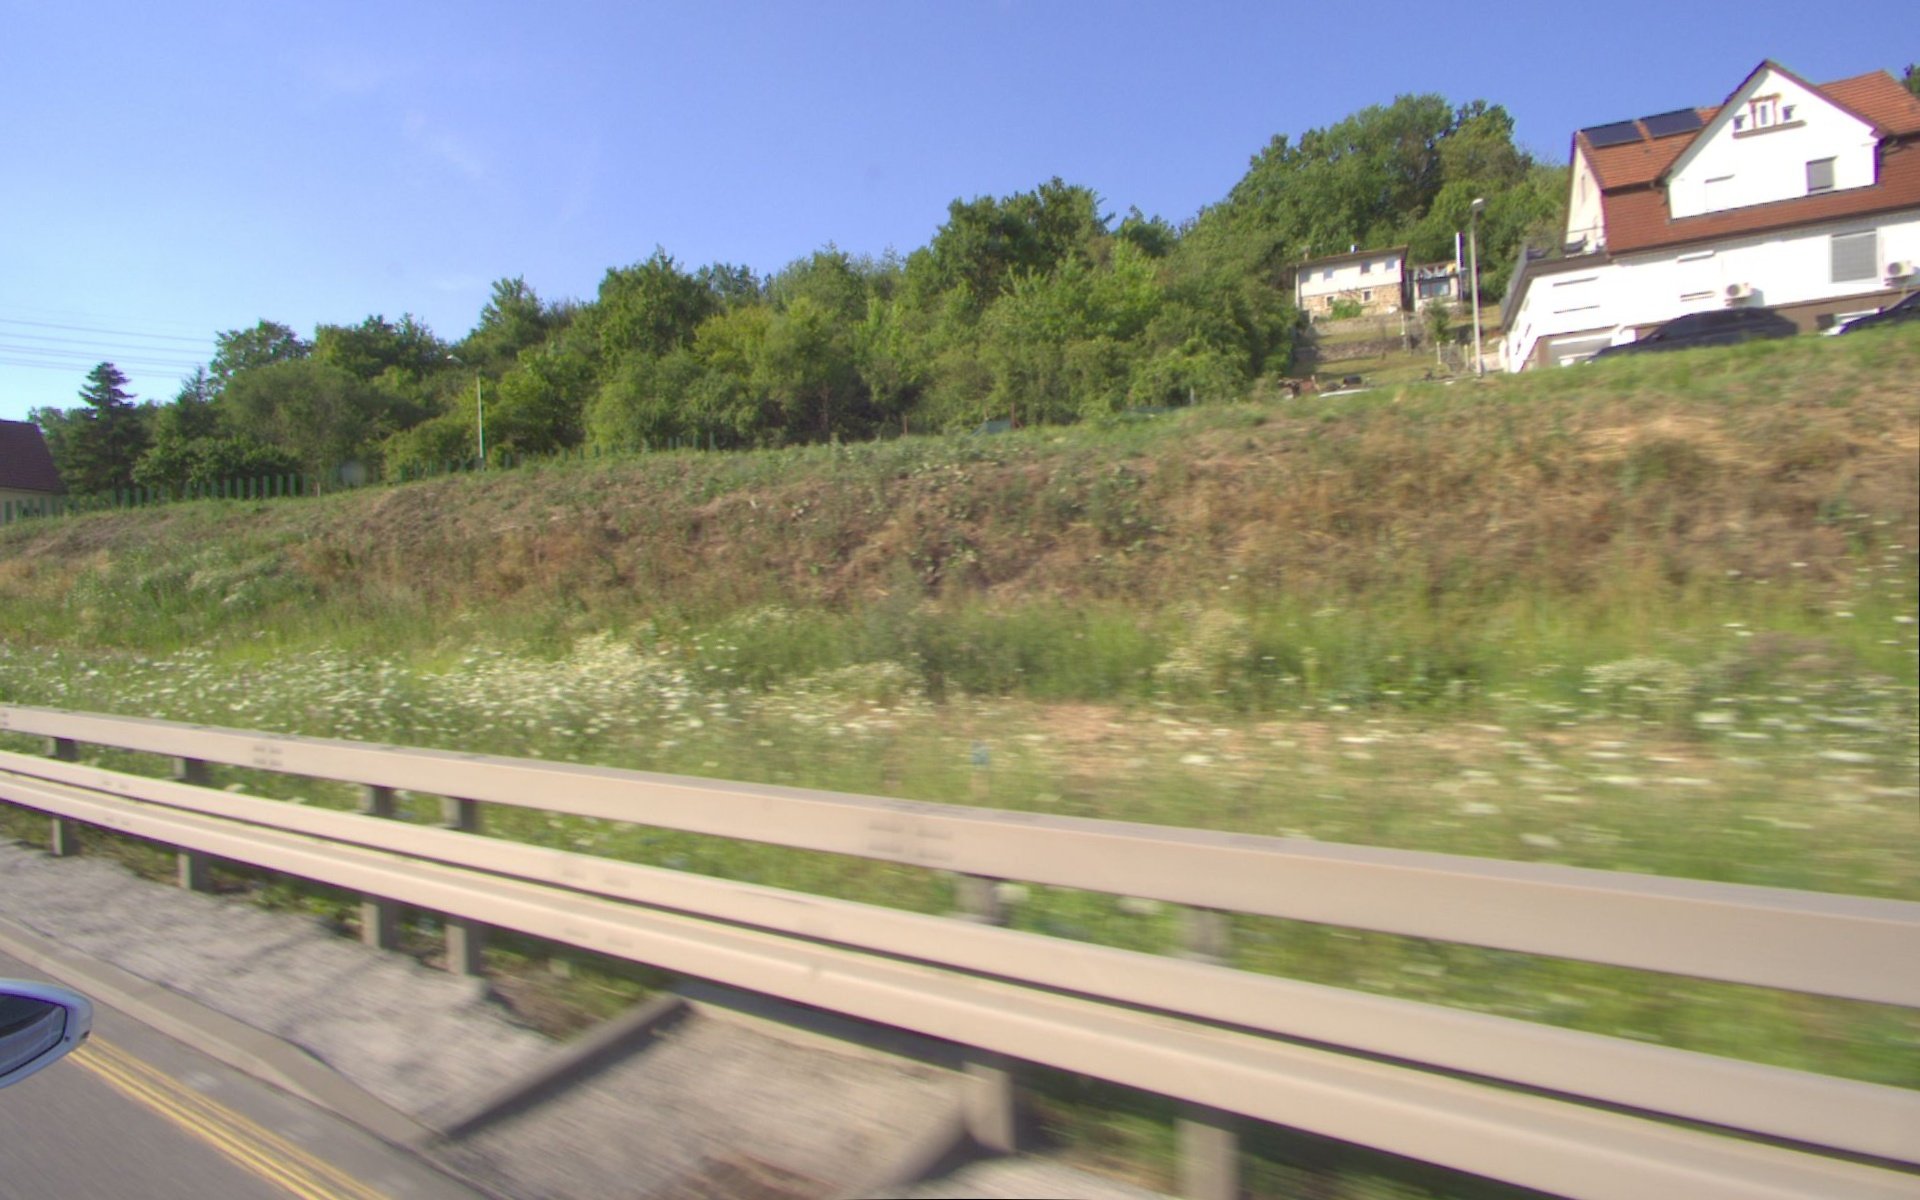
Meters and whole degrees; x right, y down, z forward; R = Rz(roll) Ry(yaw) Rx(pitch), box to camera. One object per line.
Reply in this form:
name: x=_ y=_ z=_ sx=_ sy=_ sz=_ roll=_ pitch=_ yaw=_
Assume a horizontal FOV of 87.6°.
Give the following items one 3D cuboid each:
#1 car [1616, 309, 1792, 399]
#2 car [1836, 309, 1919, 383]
car: x=17.964 y=-5.921 z=24.318 sx=3.179 sy=1.477 sz=1.359 roll=-1 pitch=-2 yaw=24
car: x=22.423 y=-5.827 z=22.530 sx=3.833 sy=1.248 sz=1.346 roll=-1 pitch=-2 yaw=20
